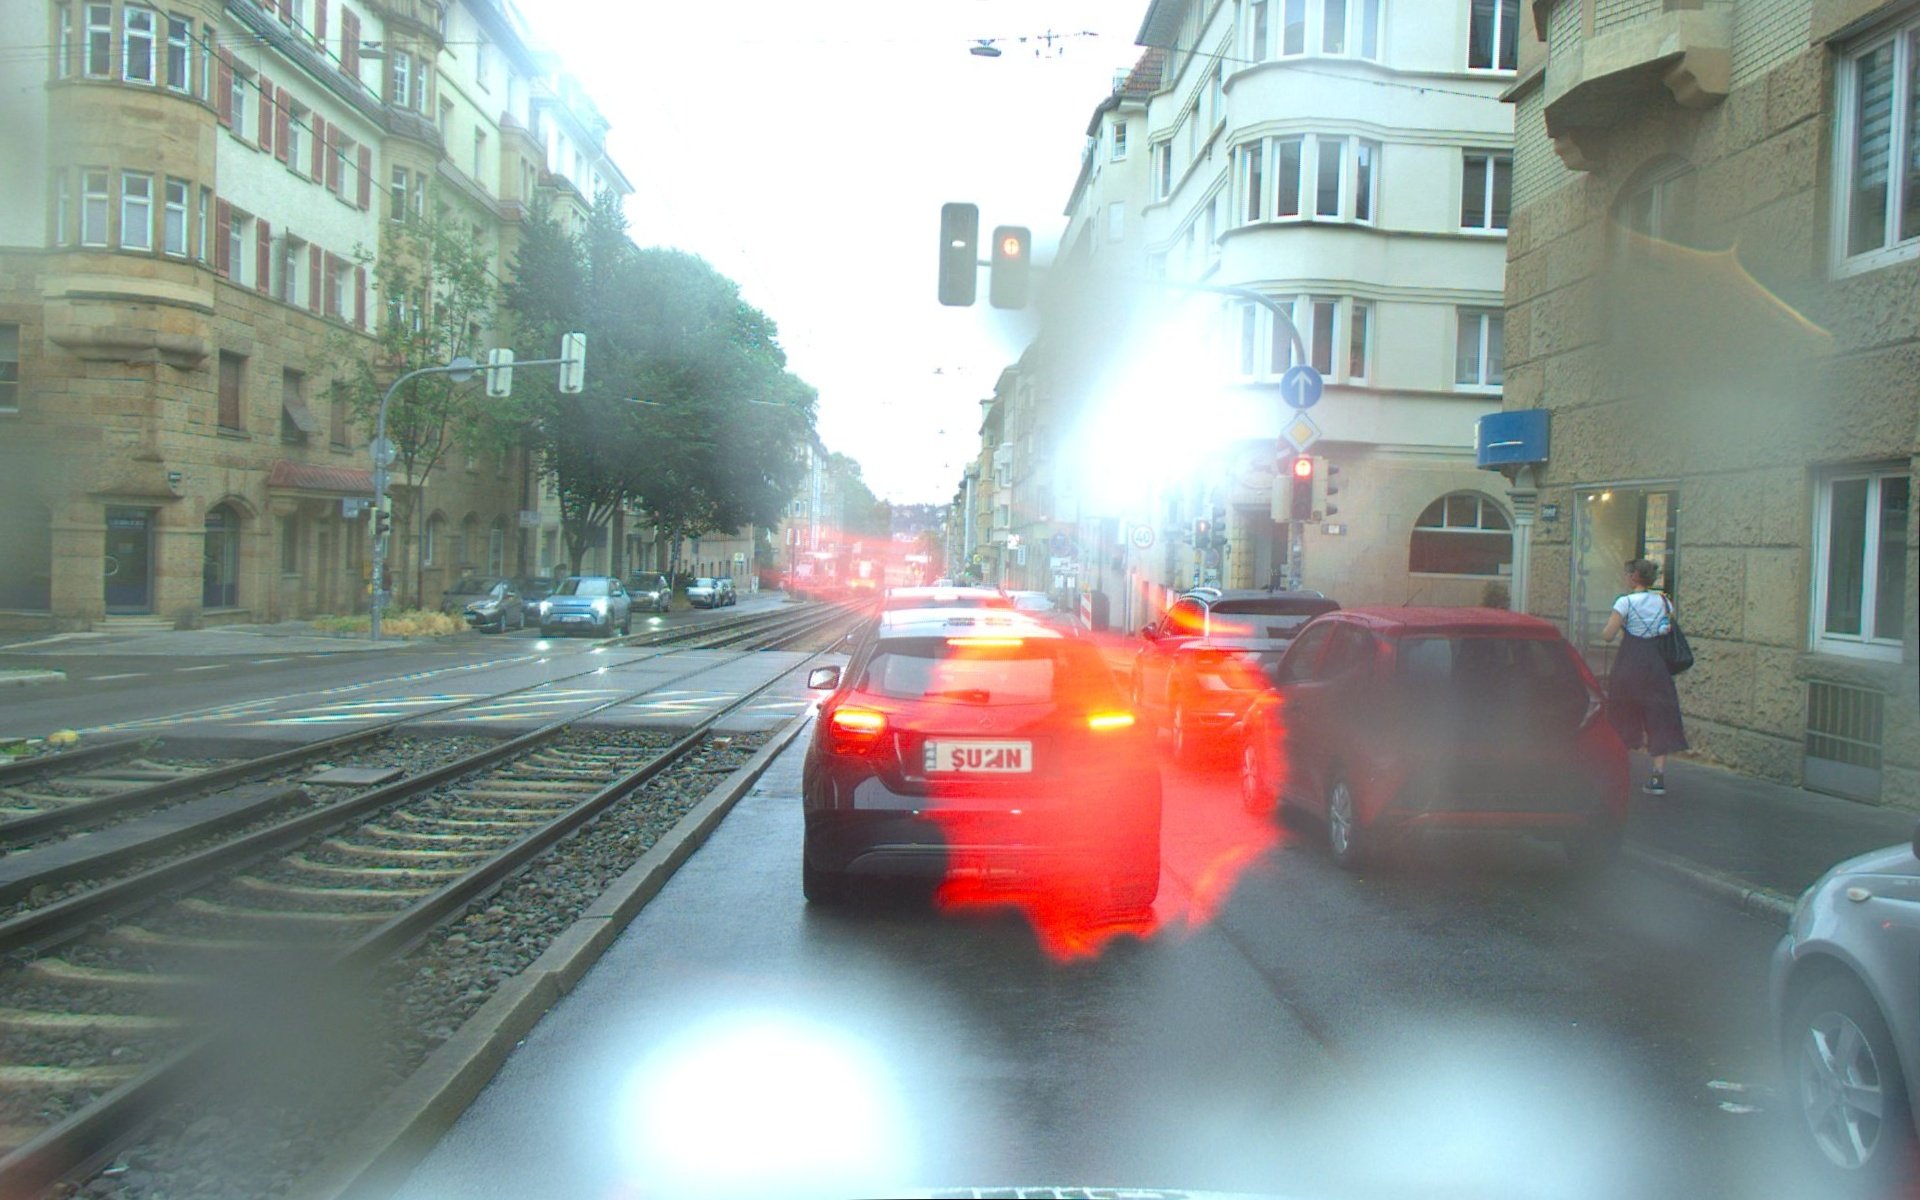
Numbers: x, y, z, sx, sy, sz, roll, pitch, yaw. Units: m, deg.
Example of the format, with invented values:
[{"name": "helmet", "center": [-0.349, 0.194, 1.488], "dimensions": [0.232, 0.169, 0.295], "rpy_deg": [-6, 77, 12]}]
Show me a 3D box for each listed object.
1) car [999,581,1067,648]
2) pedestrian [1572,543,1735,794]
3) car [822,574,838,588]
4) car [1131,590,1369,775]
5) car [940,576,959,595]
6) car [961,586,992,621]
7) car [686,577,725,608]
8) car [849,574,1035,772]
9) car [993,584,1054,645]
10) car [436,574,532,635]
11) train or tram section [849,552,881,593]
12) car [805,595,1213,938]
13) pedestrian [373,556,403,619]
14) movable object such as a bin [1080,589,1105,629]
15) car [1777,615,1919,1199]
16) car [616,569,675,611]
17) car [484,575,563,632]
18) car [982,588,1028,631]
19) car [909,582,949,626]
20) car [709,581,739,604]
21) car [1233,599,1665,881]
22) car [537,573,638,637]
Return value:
[{"name": "car", "center": [1.835, 0.359, 42.639], "dimensions": [1.513, 1.618, 3.547], "rpy_deg": [1, 0, -1]}, {"name": "pedestrian", "center": [5.155, 0.494, 12.358], "dimensions": [0.726, 1.778, 1.111], "rpy_deg": [1, -1, -1]}, {"name": "car", "center": [-12.109, -1.766, 153.823], "dimensions": [1.349, 1.271, 3.296], "rpy_deg": [1, 0, -2]}, {"name": "car", "center": [2.628, 0.684, 15.769], "dimensions": [1.513, 1.512, 3.829], "rpy_deg": [1, 0, -1]}, {"name": "car", "center": [-1.162, -1.545, 178.288], "dimensions": [1.953, 1.909, 3.999], "rpy_deg": [1, 0, -1]}, {"name": "car", "center": [0.718, 0.142, 73.579], "dimensions": [1.268, 1.467, 2.928], "rpy_deg": [1, 0, -1]}, {"name": "car", "center": [-13.662, -0.381, 88.939], "dimensions": [1.557, 1.608, 3.917], "rpy_deg": [1, 0, -1]}, {"name": "car", "center": [-0.178, 0.623, 15.807], "dimensions": [1.533, 1.637, 3.813], "rpy_deg": [1, 0, -1]}, {"name": "car", "center": [1.765, 0.386, 47.113], "dimensions": [1.513, 1.618, 3.547], "rpy_deg": [1, 0, -1]}, {"name": "car", "center": [-13.016, 0.126, 45.468], "dimensions": [1.718, 1.579, 4.032], "rpy_deg": [1, 0, -4]}, {"name": "train or tram section", "center": [-9.579, -2.724, 167.457], "dimensions": [2.726, 3.928, 10.427], "rpy_deg": [1, 0, -1]}, {"name": "car", "center": [0.189, 0.737, 9.424], "dimensions": [1.792, 1.483, 4.103], "rpy_deg": [1, 0, -1]}, {"name": "pedestrian", "center": [-15.724, -0.333, 45.488], "dimensions": [0.619, 1.702, 0.701], "rpy_deg": [1, -1, -10]}, {"name": "movable object such as a bin", "center": [4.759, 0.315, 59.617], "dimensions": [0.859, 1.413, 0.983], "rpy_deg": [1, -1, 3]}, {"name": "car", "center": [3.122, 0.794, 3.074], "dimensions": [1.581, 1.493, 3.312], "rpy_deg": [0, 0, 0]}, {"name": "car", "center": [-13.566, -0.411, 71.477], "dimensions": [1.837, 1.767, 3.917], "rpy_deg": [1, 0, -1]}, {"name": "car", "center": [-13.280, 0.108, 50.494], "dimensions": [1.683, 1.639, 3.914], "rpy_deg": [1, 0, -5]}, {"name": "car", "center": [1.659, 0.336, 61.522], "dimensions": [1.513, 1.512, 3.547], "rpy_deg": [1, 0, -1]}, {"name": "car", "center": [-1.237, 0.151, 66.178], "dimensions": [1.513, 1.664, 3.685], "rpy_deg": [1, 0, -1]}, {"name": "car", "center": [-14.031, -0.436, 98.343], "dimensions": [1.419, 1.354, 3.270], "rpy_deg": [1, 0, -3]}, {"name": "car", "center": [2.904, 0.756, 10.534], "dimensions": [1.609, 1.473, 3.297], "rpy_deg": [1, 0, -3]}, {"name": "car", "center": [-10.051, 0.145, 44.899], "dimensions": [1.860, 1.615, 3.972], "rpy_deg": [1, 0, -1]}]
